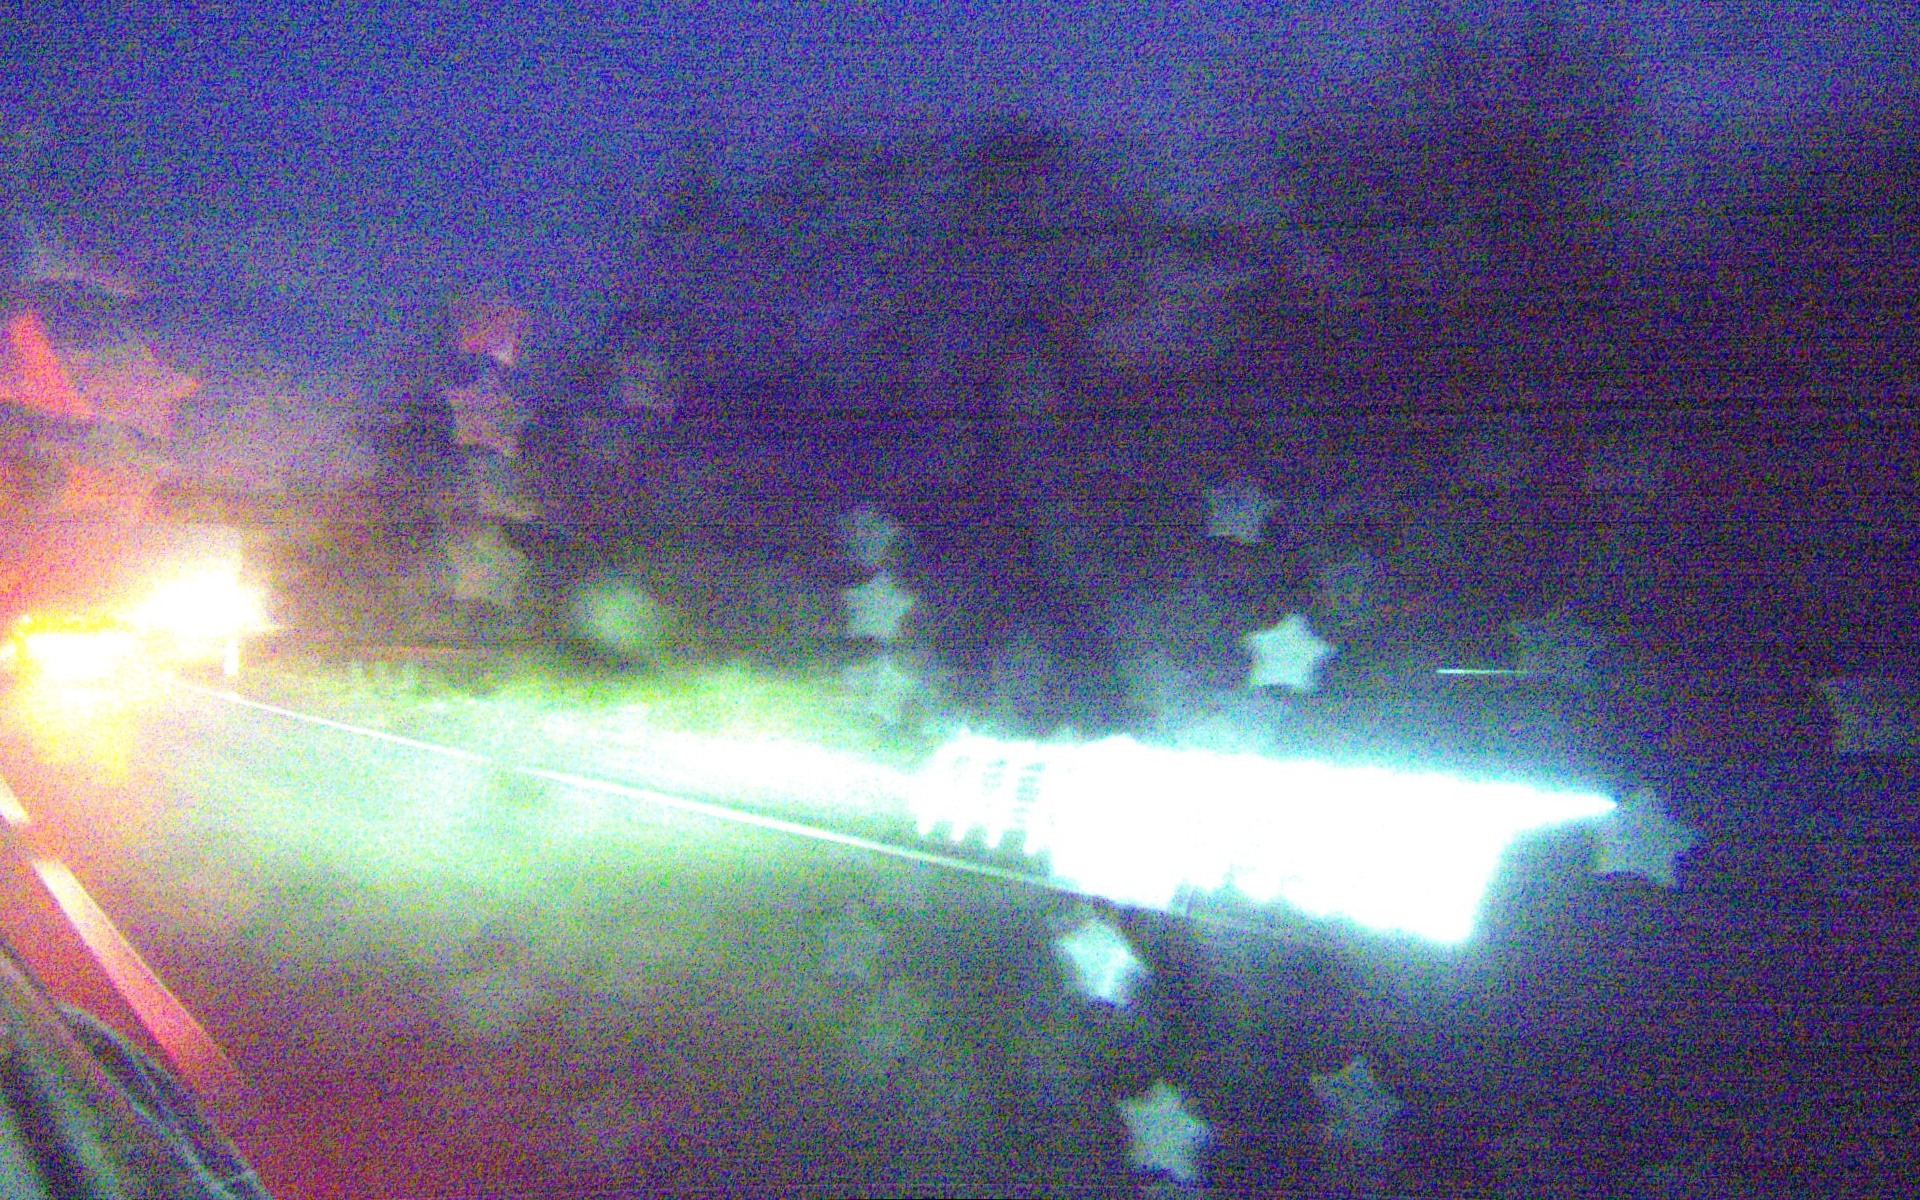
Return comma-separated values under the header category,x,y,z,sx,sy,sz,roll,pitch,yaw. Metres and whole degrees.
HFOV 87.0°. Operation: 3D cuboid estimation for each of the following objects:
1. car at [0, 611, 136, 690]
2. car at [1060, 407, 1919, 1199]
category,x,y,z,sx,sy,sz,roll,pitch,yaw
car,-20.189,1.092,22.808,4.986,1.596,1.909,-1,-3,44
car,2.819,0.533,2.181,4.982,1.721,1.973,-1,-3,41
